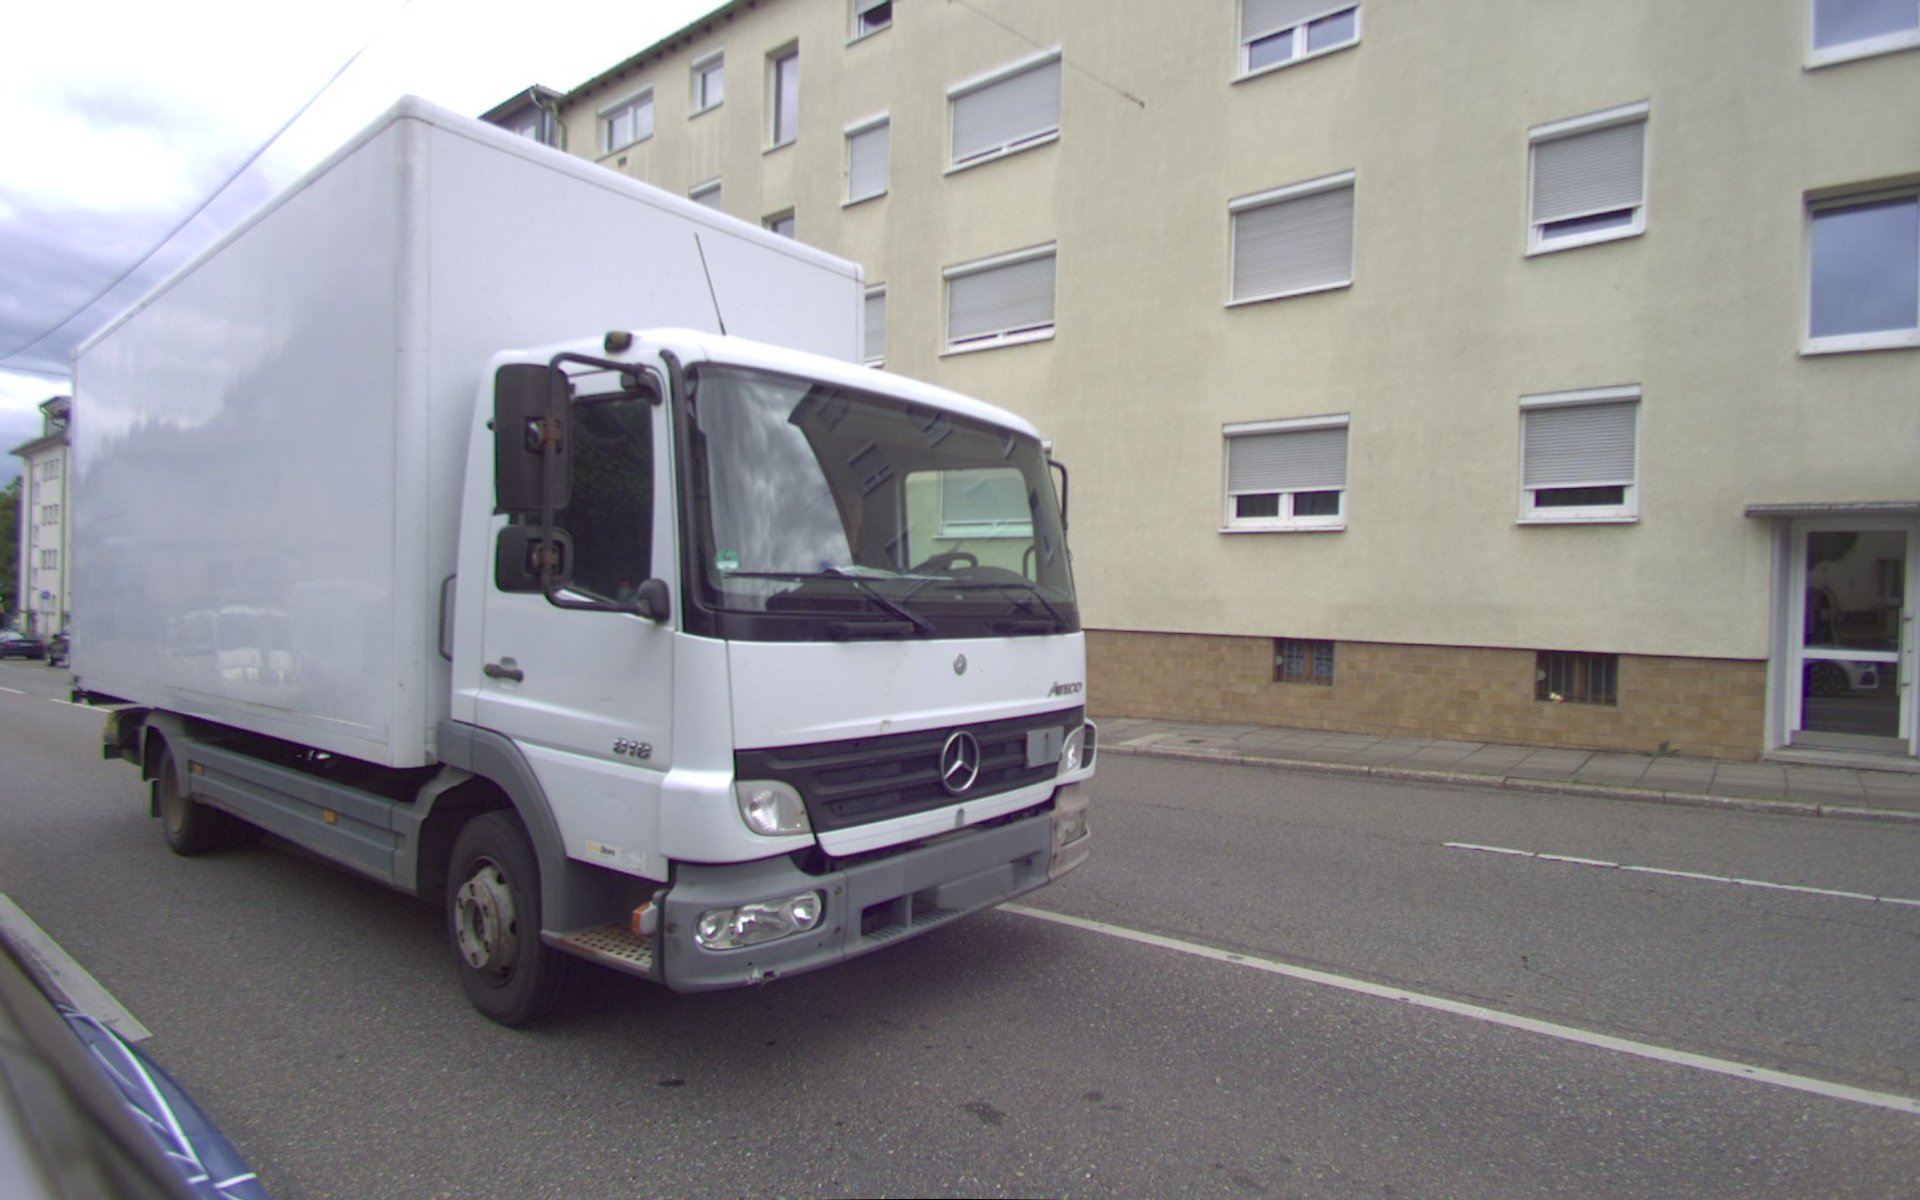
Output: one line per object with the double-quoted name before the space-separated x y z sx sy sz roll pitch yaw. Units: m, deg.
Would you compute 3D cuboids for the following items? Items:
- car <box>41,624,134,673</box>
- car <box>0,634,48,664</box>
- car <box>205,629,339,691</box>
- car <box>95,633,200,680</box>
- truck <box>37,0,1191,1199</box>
"car" -33.530 1.853 38.850 4.302 1.767 1.852 -1 -4 39
"car" -46.424 2.382 49.718 4.305 1.391 1.851 -1 -4 41
"car" -17.780 1.525 26.114 3.797 1.447 1.751 -1 -4 39
"car" -26.515 1.805 32.986 4.302 1.416 1.751 -1 -2 39
"truck" -2.948 -0.222 6.134 8.054 3.602 2.742 -2 -1 39
